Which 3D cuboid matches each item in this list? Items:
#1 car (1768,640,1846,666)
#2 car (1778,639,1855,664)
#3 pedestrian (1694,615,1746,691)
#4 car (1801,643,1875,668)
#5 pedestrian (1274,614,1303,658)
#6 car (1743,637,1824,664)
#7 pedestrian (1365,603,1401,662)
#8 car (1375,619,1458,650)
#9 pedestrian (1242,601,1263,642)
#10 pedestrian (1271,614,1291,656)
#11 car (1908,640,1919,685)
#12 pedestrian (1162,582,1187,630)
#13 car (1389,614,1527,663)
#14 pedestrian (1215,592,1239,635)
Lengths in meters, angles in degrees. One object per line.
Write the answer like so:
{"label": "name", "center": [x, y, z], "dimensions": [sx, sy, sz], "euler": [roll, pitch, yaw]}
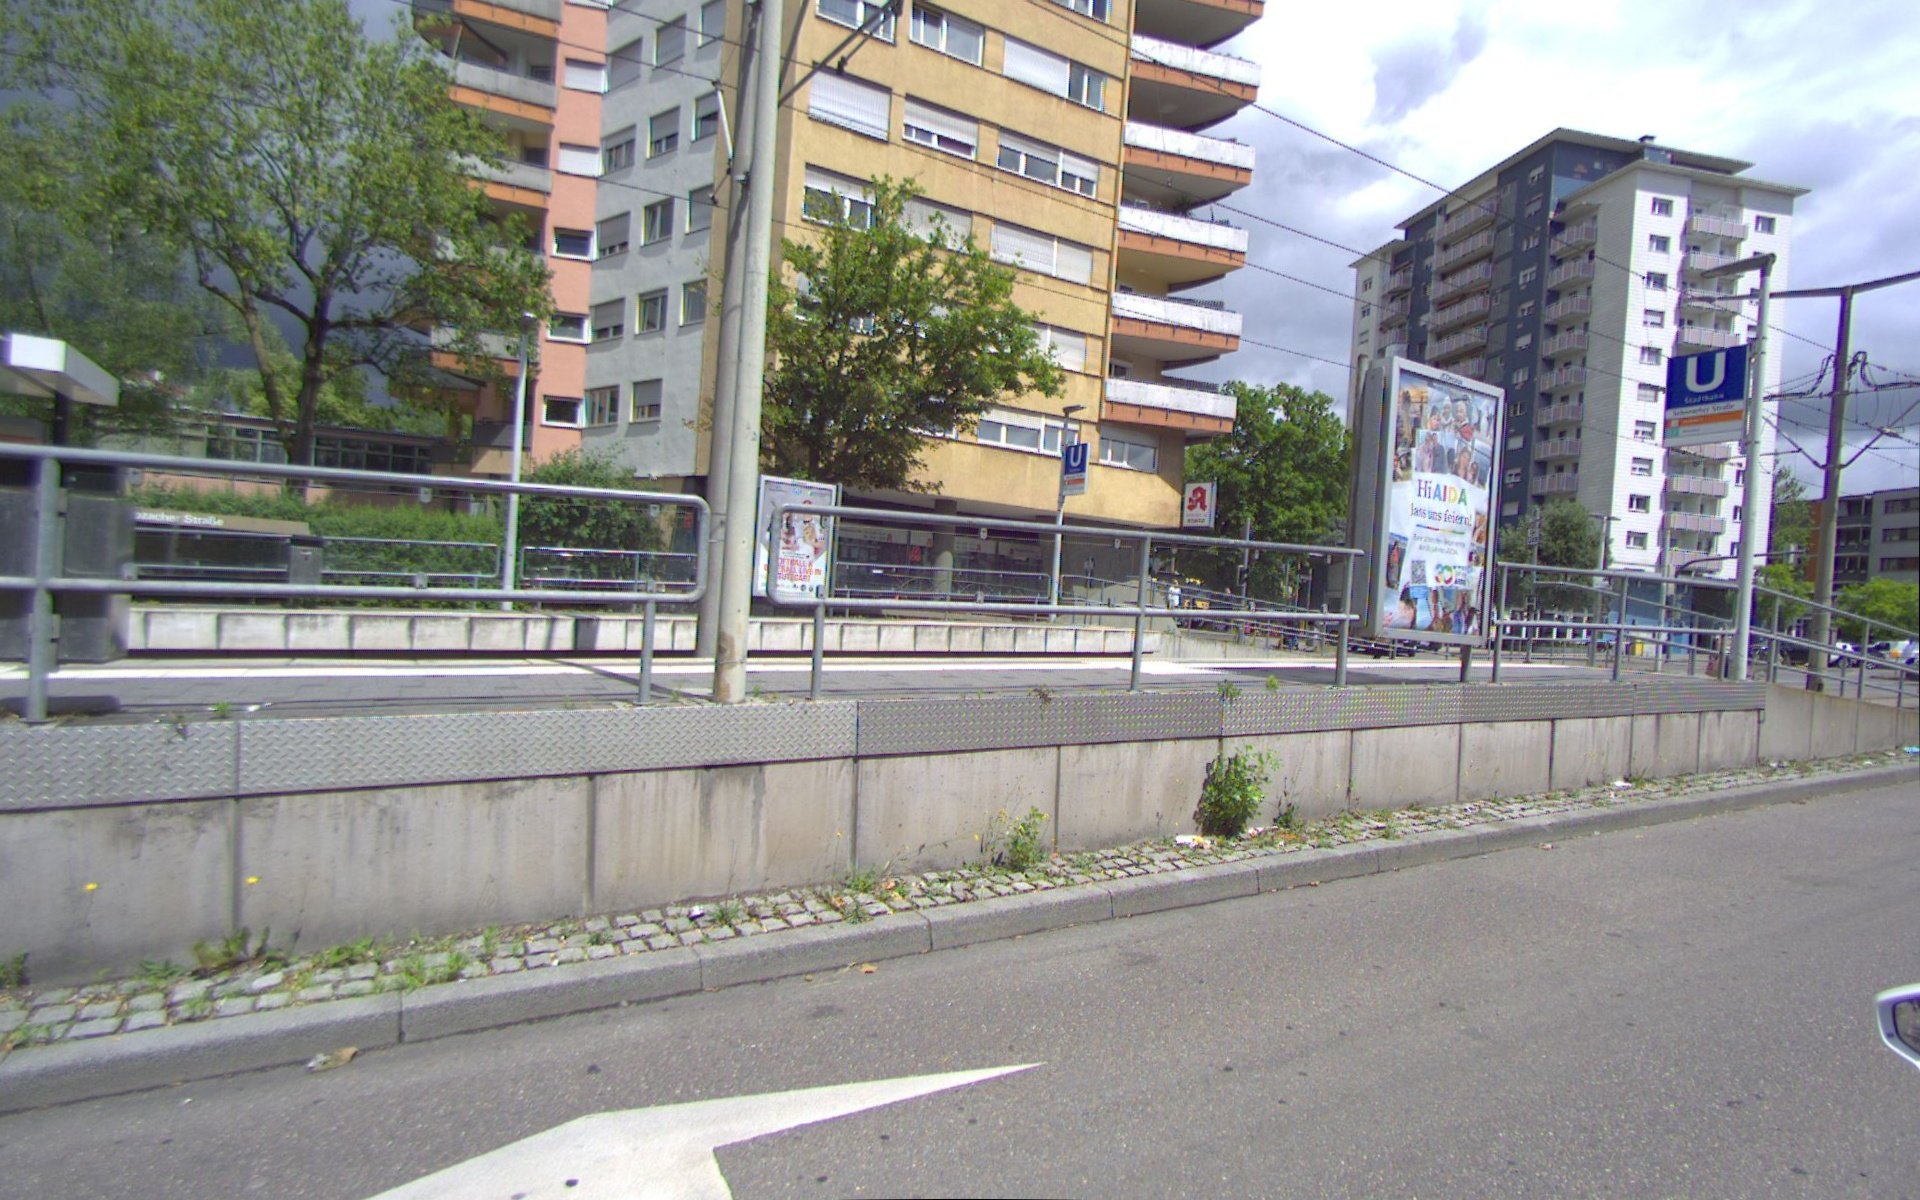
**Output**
{"label": "car", "center": [54.124, 3.363, 64.244], "dimensions": [1.602, 1.482, 3.576], "euler": [2, -1, -37]}
{"label": "car", "center": [56.315, 3.378, 66.101], "dimensions": [1.602, 1.482, 3.576], "euler": [2, -1, -37]}
{"label": "pedestrian", "center": [17.894, 1.235, 23.660], "dimensions": [0.675, 1.719, 0.861], "euler": [2, 0, 17]}
{"label": "car", "center": [59.734, 3.731, 68.364], "dimensions": [1.602, 1.482, 3.576], "euler": [2, -1, -37]}
{"label": "pedestrian", "center": [10.447, 1.128, 31.964], "dimensions": [0.677, 1.360, 0.859], "euler": [2, 0, 30]}
{"label": "car", "center": [50.572, 3.102, 61.726], "dimensions": [1.602, 1.482, 3.576], "euler": [2, -1, -37]}
{"label": "pedestrian", "center": [12.102, 0.918, 28.727], "dimensions": [0.630, 1.654, 0.698], "euler": [2, -1, -29]}
{"label": "car", "center": [23.616, 1.770, 51.997], "dimensions": [1.602, 1.482, 3.576], "euler": [2, -1, -37]}
{"label": "pedestrian", "center": [11.624, 0.843, 39.910], "dimensions": [0.759, 1.604, 0.610], "euler": [2, 0, 16]}
{"label": "pedestrian", "center": [10.665, 1.149, 33.365], "dimensions": [0.543, 1.360, 0.669], "euler": [2, 0, 12]}
{"label": "car", "center": [35.476, 2.252, 34.556], "dimensions": [1.660, 1.546, 3.957], "euler": [2, 0, -37]}
{"label": "pedestrian", "center": [7.985, 0.220, 37.478], "dimensions": [0.669, 1.729, 0.826], "euler": [2, 0, -3]}
{"label": "car", "center": [19.503, 1.472, 39.474], "dimensions": [1.980, 1.716, 4.450], "euler": [2, 0, -35]}
{"label": "pedestrian", "center": [10.216, 0.515, 38.457], "dimensions": [0.613, 1.599, 0.858], "euler": [2, 0, 33]}
